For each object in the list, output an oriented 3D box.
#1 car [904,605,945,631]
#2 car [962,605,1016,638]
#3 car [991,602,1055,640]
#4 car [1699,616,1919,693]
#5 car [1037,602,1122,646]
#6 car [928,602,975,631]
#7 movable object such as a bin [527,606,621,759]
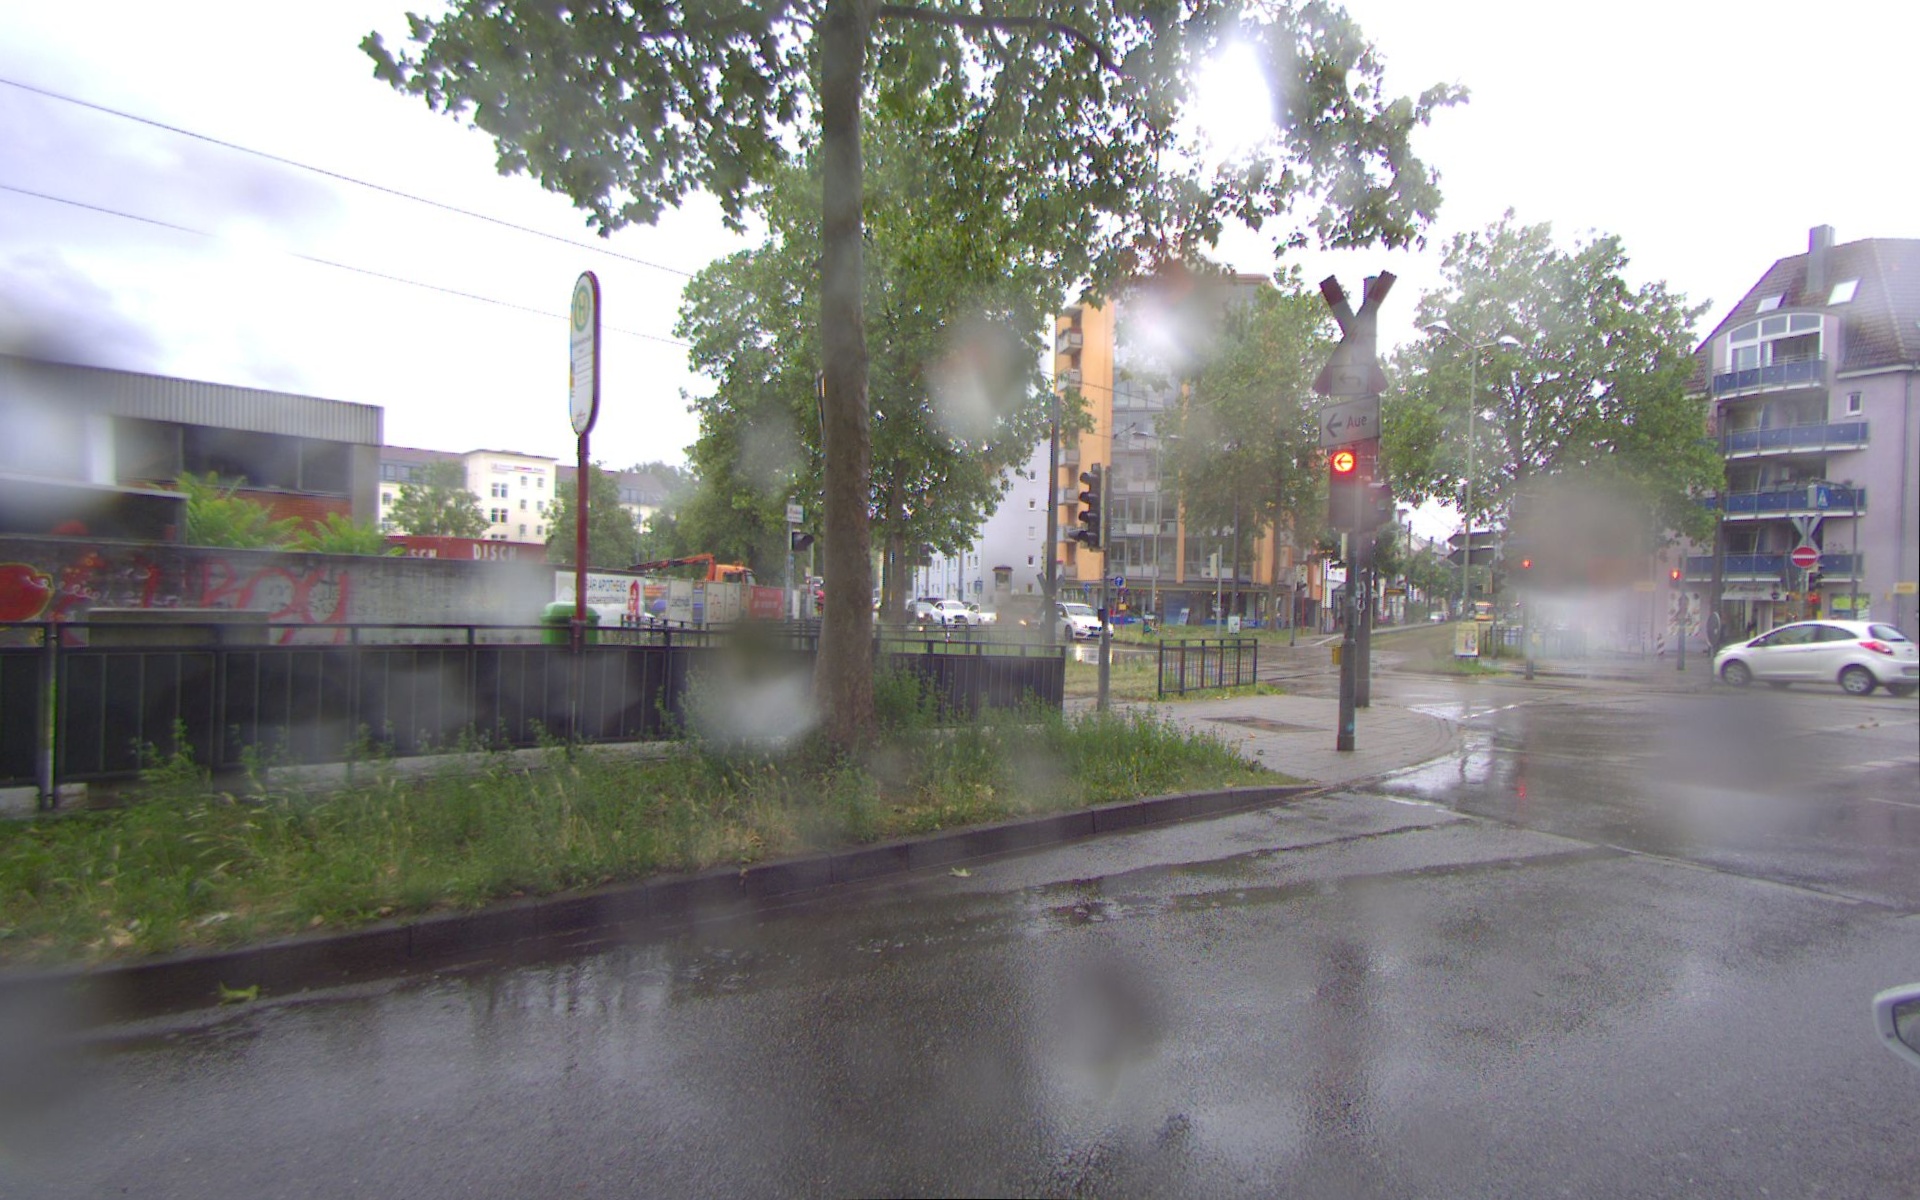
[{"bbox_3d":[-2.286,1.161,64.481,1.697,1.661,3.780,1,-1,-17],"label":"car"},{"bbox_3d":[1.490,1.138,52.414,1.697,1.661,3.780,1,-1,-17],"label":"car"},{"bbox_3d":[2.844,0.984,46.216,1.697,1.661,3.780,1,-1,-17],"label":"car"},{"bbox_3d":[18.299,1.105,21.541,1.698,1.505,3.637,1,-1,-20],"label":"car"},{"bbox_3d":[4.732,0.975,40.341,1.941,1.673,4.004,1,-1,-17],"label":"car"},{"bbox_3d":[-0.543,0.971,58.386,1.697,1.661,3.780,1,-1,-17],"label":"car"},{"bbox_3d":[-2.914,0.602,7.581,0.412,1.104,0.528,0,-1,44],"label":"movable object such as a bin"}]
